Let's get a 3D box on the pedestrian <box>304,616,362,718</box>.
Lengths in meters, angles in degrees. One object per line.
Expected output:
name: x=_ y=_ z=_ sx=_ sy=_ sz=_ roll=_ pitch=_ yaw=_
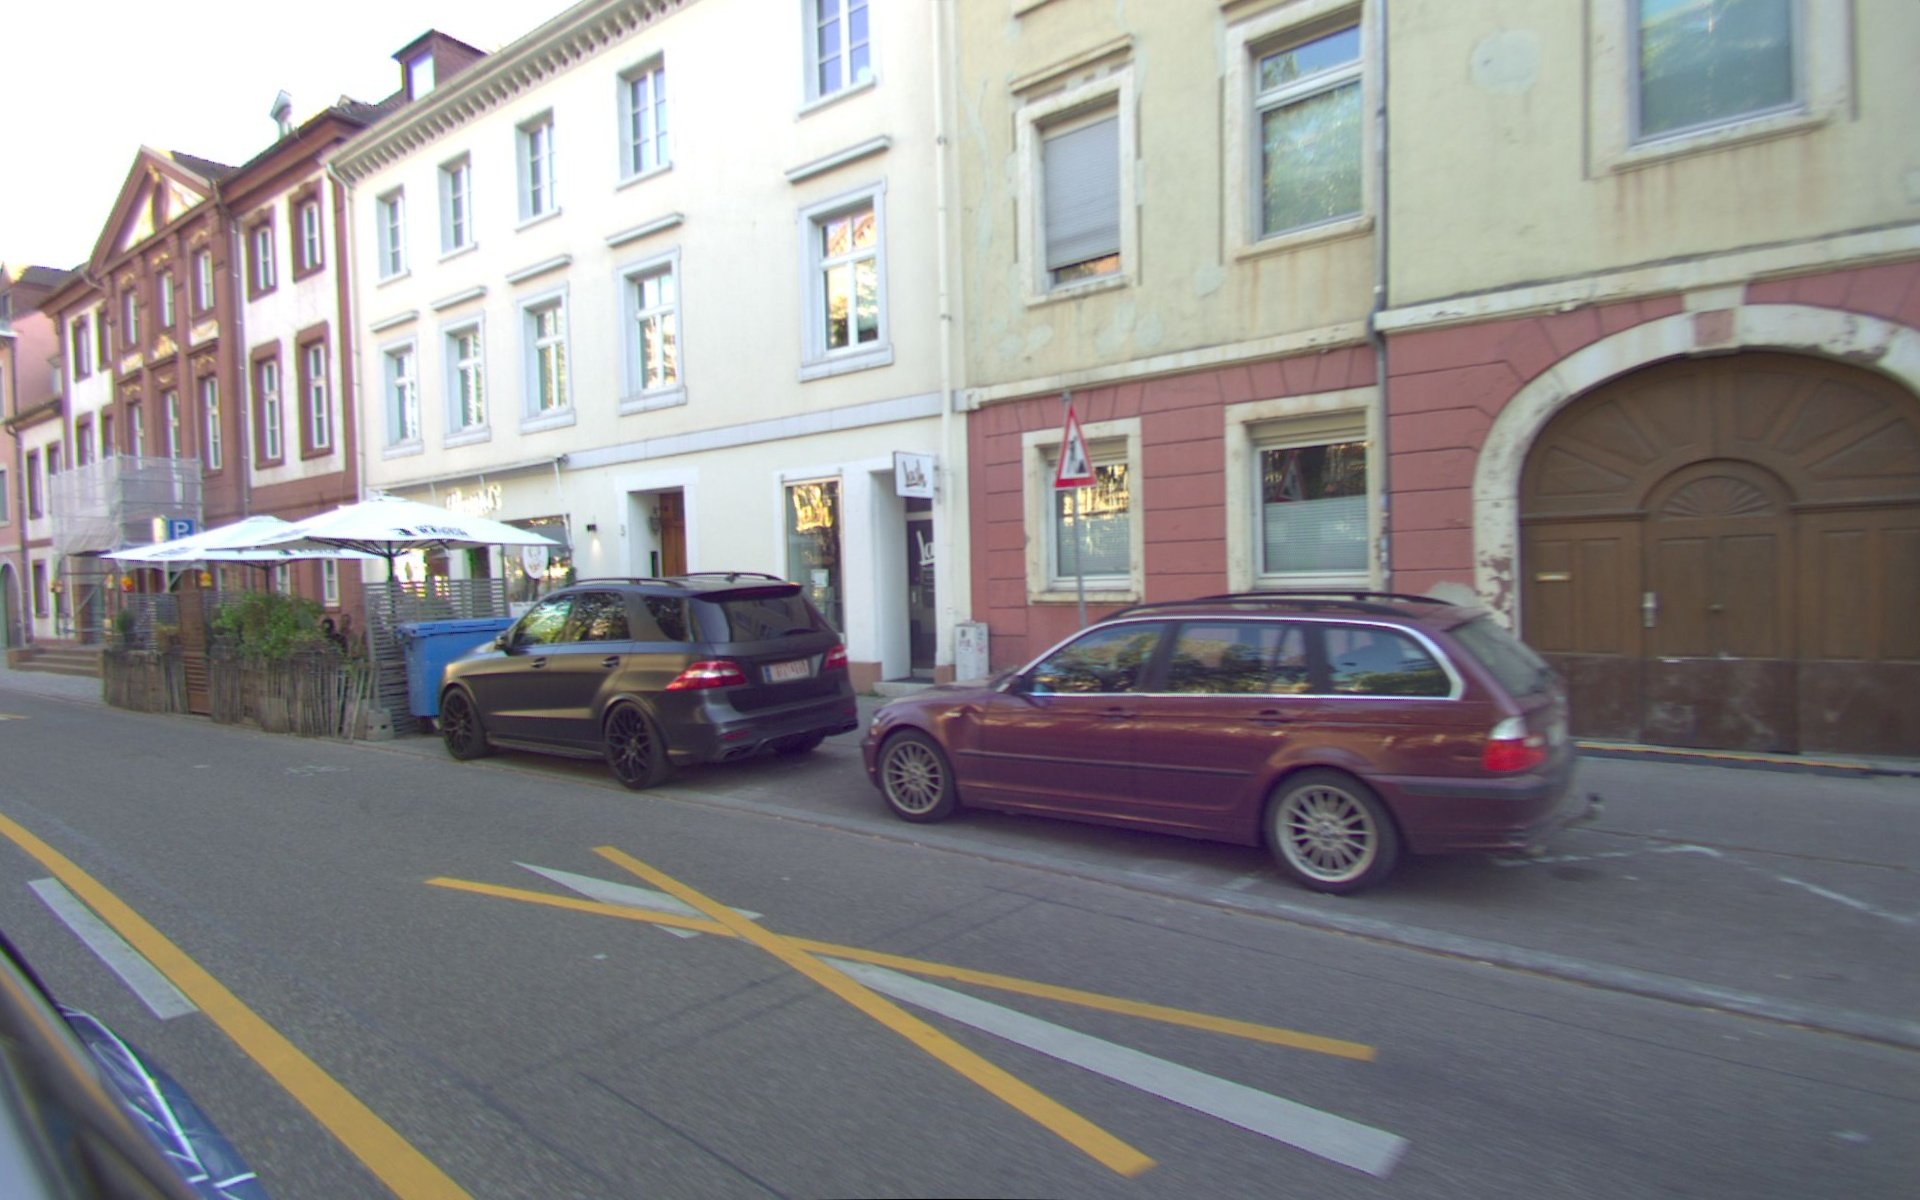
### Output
pedestrian: x=-8.959 y=0.947 z=14.467 sx=0.487 sy=1.401 sz=0.519 roll=-1 pitch=1 yaw=33

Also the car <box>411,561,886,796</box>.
car: x=-3.110 y=0.585 z=9.553 sx=4.779 sy=1.692 sz=1.904 roll=-1 pitch=0 yaw=38

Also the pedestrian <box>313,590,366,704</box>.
pedestrian: x=-10.008 y=0.748 z=16.322 sx=0.439 sy=1.788 sz=0.589 roll=-1 pitch=1 yaw=45

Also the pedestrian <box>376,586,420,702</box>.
pedestrian: x=-8.885 y=0.678 z=15.995 sx=0.432 sy=1.788 sz=0.598 roll=-2 pitch=1 yaw=-41

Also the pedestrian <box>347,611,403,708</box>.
pedestrian: x=-8.689 y=0.870 z=15.033 sx=0.487 sy=1.401 sz=0.519 roll=-1 pitch=1 yaw=33

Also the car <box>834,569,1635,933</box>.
car: x=1.385 y=0.636 z=6.165 sx=4.422 sy=1.491 sz=1.637 roll=-1 pitch=0 yaw=38

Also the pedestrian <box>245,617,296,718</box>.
pedestrian: x=-10.220 y=0.987 z=15.008 sx=0.502 sy=1.444 sz=0.466 roll=-1 pitch=1 yaw=41

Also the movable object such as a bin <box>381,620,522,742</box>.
movable object such as a bin: x=-5.992 y=0.911 z=11.947 sx=0.930 sy=1.305 sz=1.203 roll=-1 pitch=1 yaw=41
